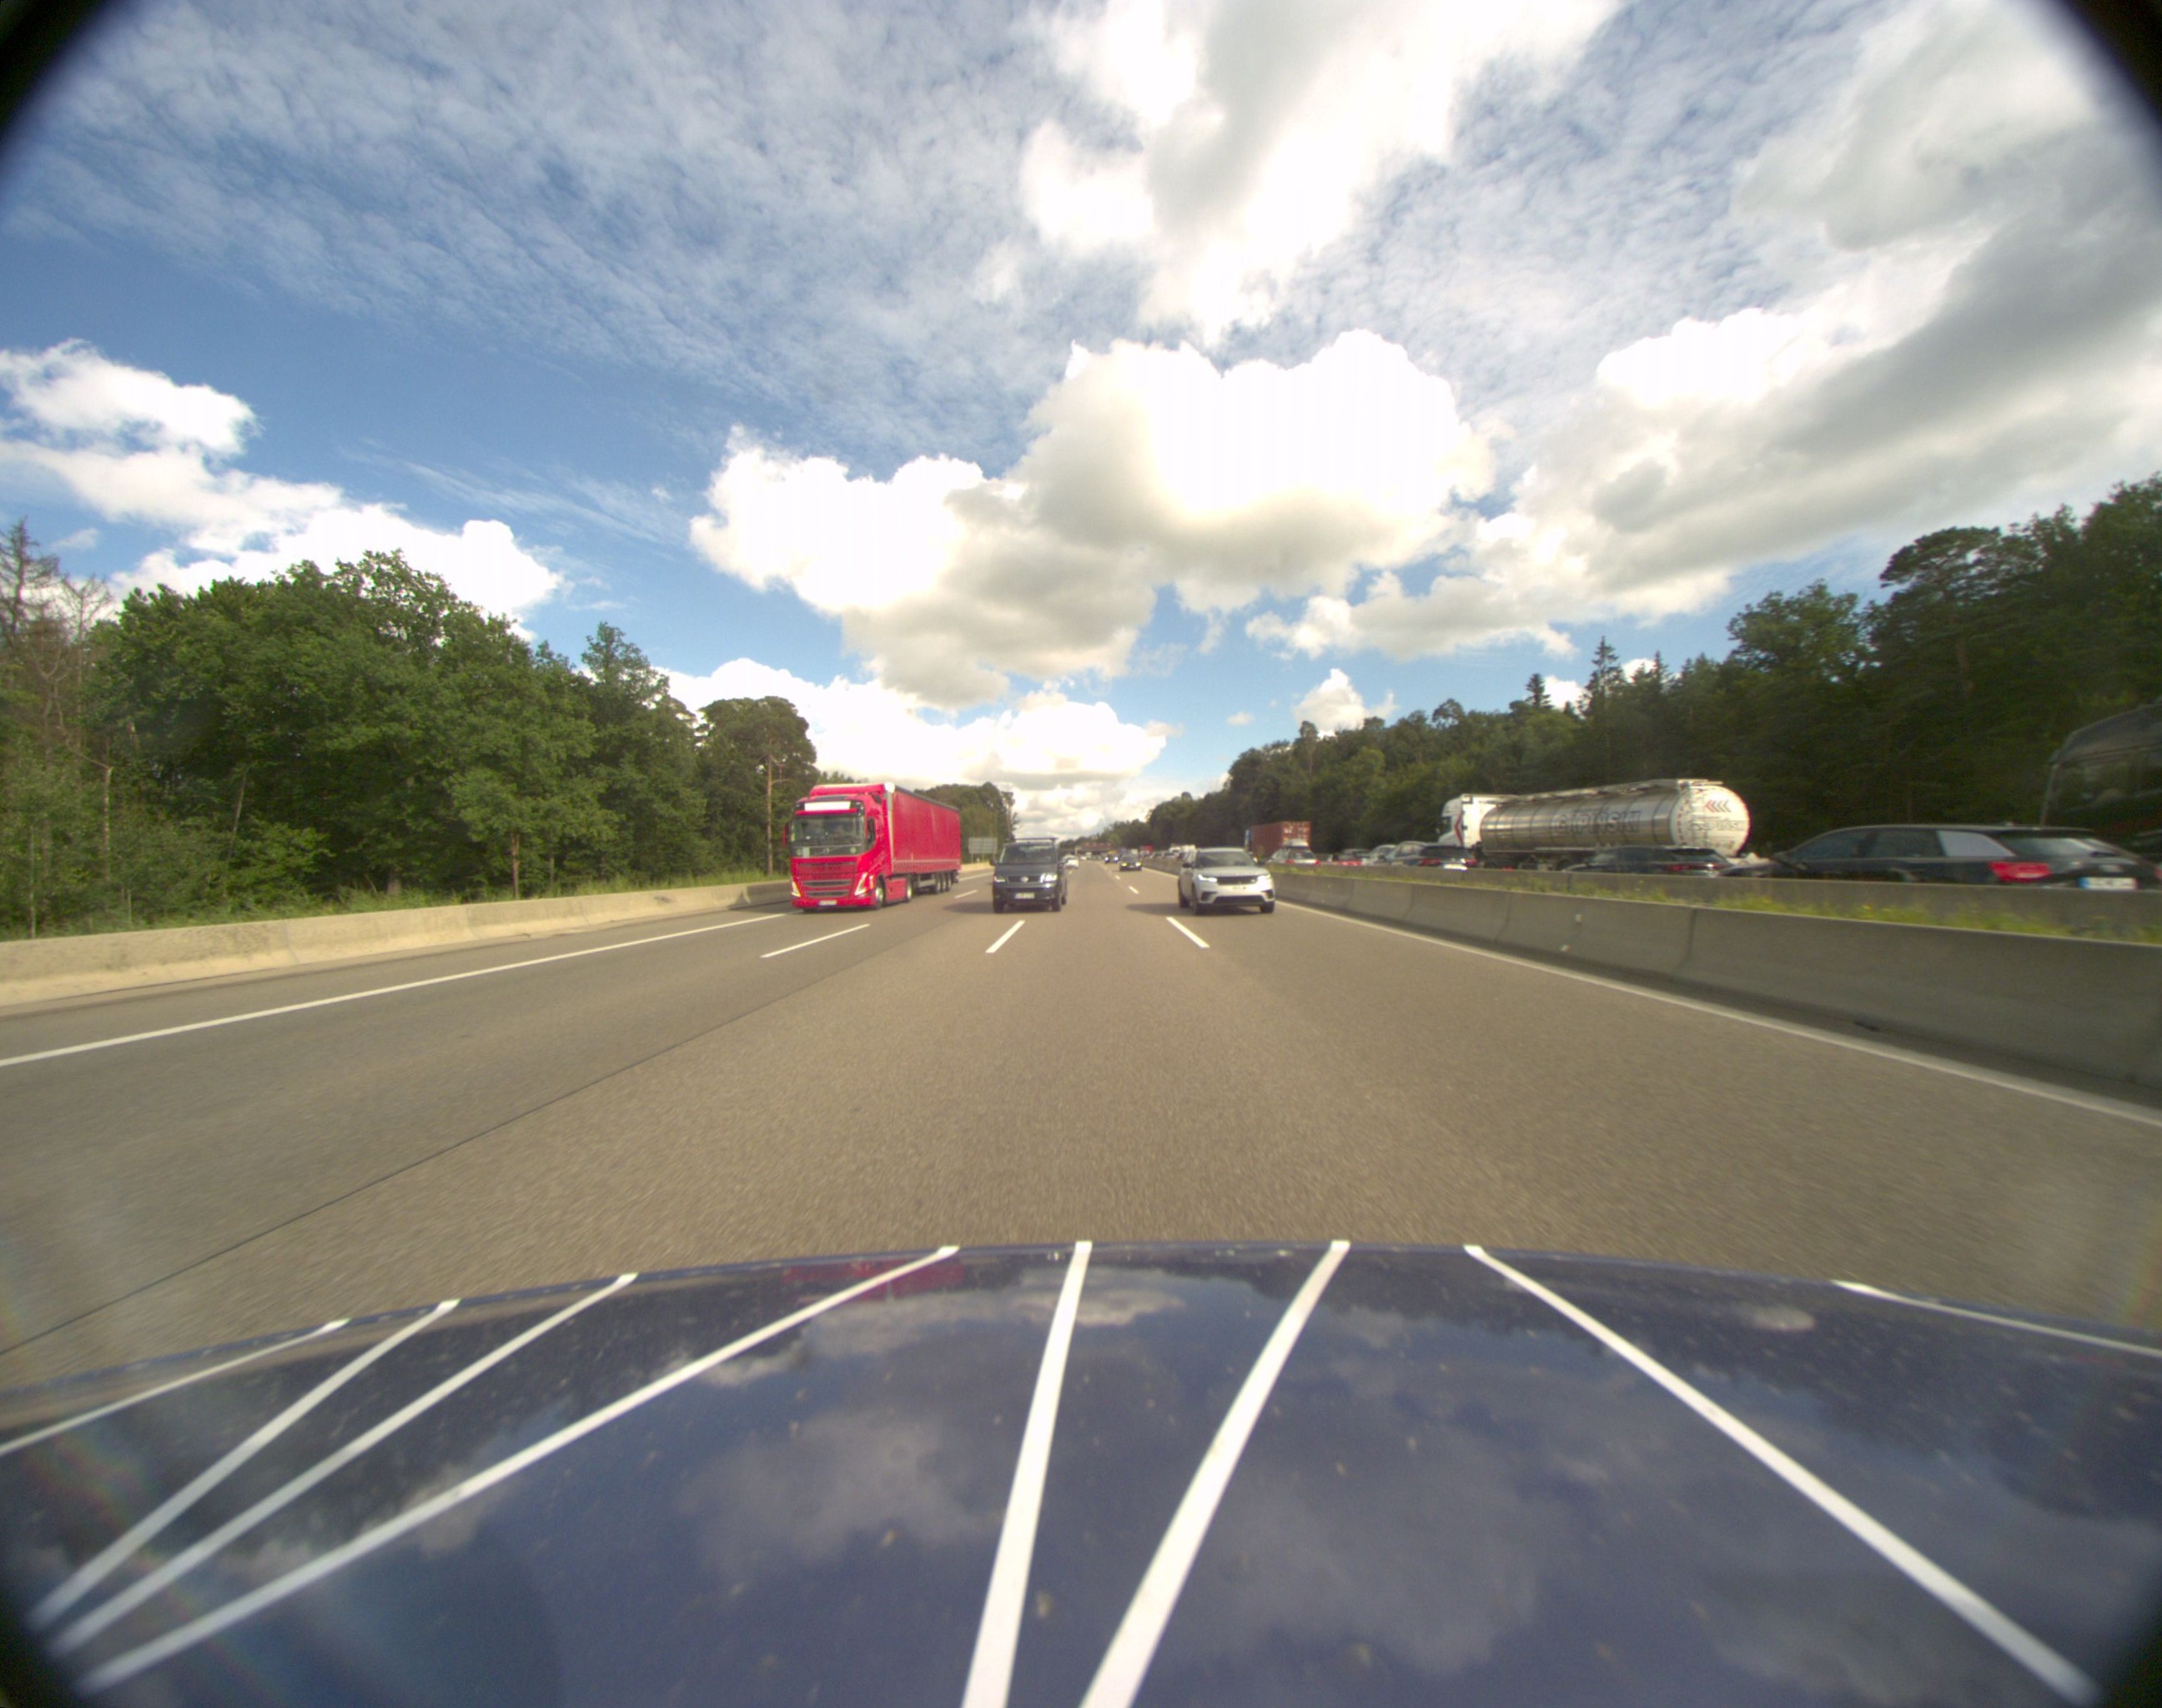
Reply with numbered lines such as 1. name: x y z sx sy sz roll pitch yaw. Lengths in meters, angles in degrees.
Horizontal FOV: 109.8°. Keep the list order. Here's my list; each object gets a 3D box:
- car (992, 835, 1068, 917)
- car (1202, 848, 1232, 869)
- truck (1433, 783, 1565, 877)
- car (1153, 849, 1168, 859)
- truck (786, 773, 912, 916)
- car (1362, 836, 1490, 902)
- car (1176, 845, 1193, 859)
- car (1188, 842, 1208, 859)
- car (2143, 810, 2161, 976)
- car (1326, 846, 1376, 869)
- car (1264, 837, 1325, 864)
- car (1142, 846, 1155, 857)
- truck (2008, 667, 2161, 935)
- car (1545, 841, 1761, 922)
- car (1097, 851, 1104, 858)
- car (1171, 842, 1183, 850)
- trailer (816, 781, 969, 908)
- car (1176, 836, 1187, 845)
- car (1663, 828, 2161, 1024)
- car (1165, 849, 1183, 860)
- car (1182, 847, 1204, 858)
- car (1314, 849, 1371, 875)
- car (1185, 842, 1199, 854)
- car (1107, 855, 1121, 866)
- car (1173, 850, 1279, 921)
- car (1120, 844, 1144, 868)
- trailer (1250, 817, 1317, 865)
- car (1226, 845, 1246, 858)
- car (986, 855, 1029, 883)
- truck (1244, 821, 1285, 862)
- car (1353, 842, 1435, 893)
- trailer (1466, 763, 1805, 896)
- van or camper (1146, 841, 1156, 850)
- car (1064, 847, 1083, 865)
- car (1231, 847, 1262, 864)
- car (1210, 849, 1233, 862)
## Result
1. car: -1.404 0.599 22.756 1.927 2.153 4.961 -1 0 0
2. car: 10.575 0.363 59.281 1.515 1.552 3.999 -2 0 -1
3. truck: 18.109 -0.974 33.303 2.964 3.725 5.109 -2 0 1
4. car: 11.375 -0.016 109.304 1.762 1.271 4.000 -2 0 1
5. truck: -7.393 -0.296 24.864 2.532 4.178 4.653 -2 1 1
6. car: 10.334 0.401 23.217 1.821 1.735 4.904 -2 0 2
7. car: 15.660 -0.248 115.032 1.998 2.002 4.000 -2 1 1
8. car: 15.283 -0.465 99.286 1.998 2.002 3.999 -2 1 1
9. car: 13.620 0.453 6.545 1.998 1.948 4.990 -2 1 1
10. car: 18.048 0.195 50.935 1.693 1.428 4.390 -2 0 -1
11. car: 9.900 -0.172 35.533 1.599 1.167 4.356 -2 0 0
12. car: 11.606 -0.460 130.918 1.998 1.838 4.000 -2 0 1
13. truck: 17.629 -0.824 10.021 2.620 4.047 6.717 -2 0 1
14. car: 14.189 0.592 19.305 1.821 1.753 4.903 -1 0 0
15. car: 5.190 0.062 205.439 1.804 1.783 3.758 -1 0 1
16. car: 19.415 -1.571 153.762 1.949 1.587 3.613 -2 0 1
17. trailer: -7.258 -0.342 32.205 2.531 4.095 14.377 -2 0 1
18. car: 23.108 -3.140 175.396 1.998 2.002 3.999 -2 1 1
19. car: 10.284 0.679 9.790 1.821 1.871 4.903 -1 0 0
20. car: 11.602 0.024 95.293 1.762 1.271 4.000 -2 0 1
21. car: 11.069 -0.189 75.193 1.575 0.992 4.000 -2 0 1
22. car: 14.761 0.431 43.141 1.693 1.344 4.329 -2 0 0
23. car: 19.721 -1.094 135.414 1.998 2.002 4.000 -2 0 1
24. car: 5.179 1.029 119.182 1.911 1.582 4.287 -2 1 1
25. car: 3.707 0.741 20.333 1.904 1.597 5.106 -2 0 1
26. car: 4.501 0.164 67.504 1.919 2.002 4.000 -2 0 1
27. trailer: 18.714 -1.216 71.292 2.957 3.960 12.890 -2 1 1
28. car: 18.864 -0.325 92.718 1.691 1.530 3.622 -2 0 1
29. car: -4.241 0.847 44.482 1.998 1.434 3.999 -2 1 1
30. truck: 18.809 -1.249 78.265 2.963 3.963 5.152 -2 0 1
31. car: 14.114 0.572 34.534 1.821 2.094 4.478 -2 0 0
32. trailer: 17.978 -0.731 26.484 2.957 3.478 12.230 -2 1 1
33. van or camper: 23.235 -2.808 252.354 2.956 3.128 6.884 -2 0 1
34. car: -0.865 0.220 89.150 1.998 2.002 4.000 -2 0 2
35. car: 14.377 0.124 66.190 1.693 1.389 4.390 -2 0 0
36. car: 15.337 0.169 83.041 1.877 1.271 4.000 -2 0 1
